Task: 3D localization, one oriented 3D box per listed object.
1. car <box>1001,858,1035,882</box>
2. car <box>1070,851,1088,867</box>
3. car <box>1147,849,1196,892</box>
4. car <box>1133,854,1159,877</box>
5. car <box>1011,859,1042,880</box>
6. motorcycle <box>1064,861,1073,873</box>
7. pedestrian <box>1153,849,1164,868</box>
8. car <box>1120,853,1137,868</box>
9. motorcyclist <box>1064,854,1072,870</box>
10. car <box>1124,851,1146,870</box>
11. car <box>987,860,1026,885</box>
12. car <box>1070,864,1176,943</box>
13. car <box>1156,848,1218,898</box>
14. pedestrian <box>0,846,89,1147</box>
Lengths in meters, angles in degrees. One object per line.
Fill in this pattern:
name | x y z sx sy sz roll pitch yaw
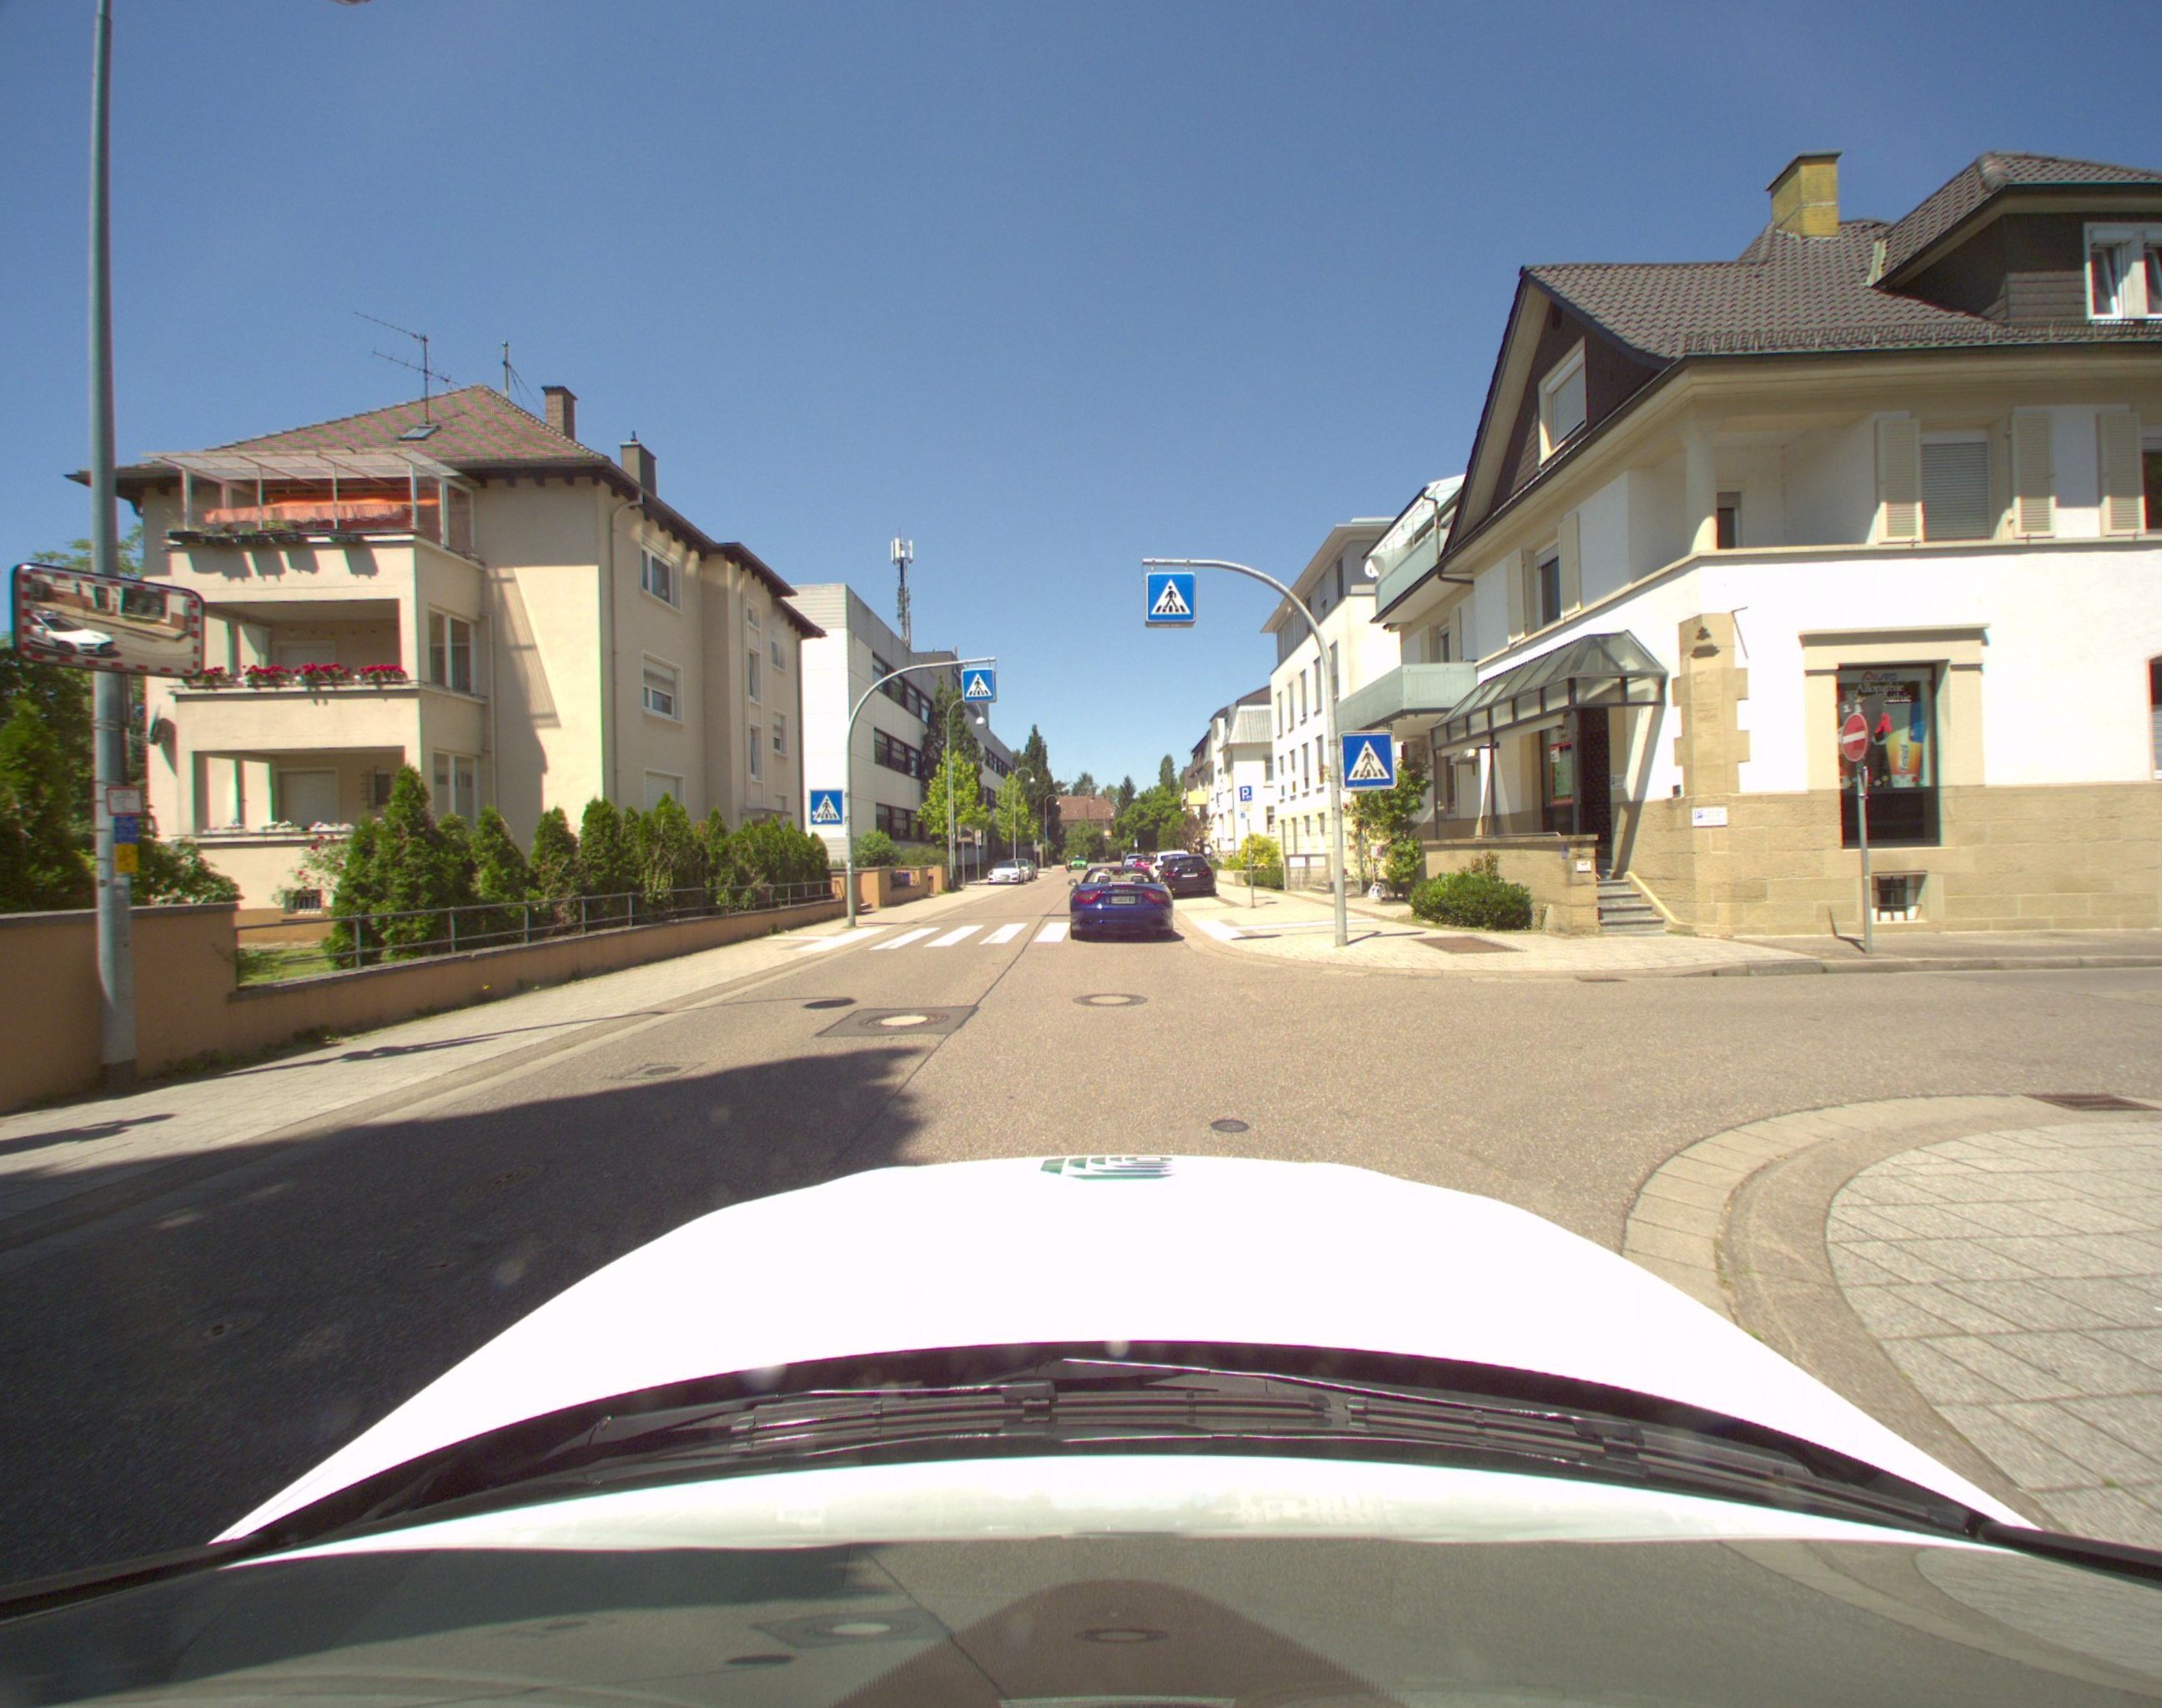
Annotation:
car | -4.210 1.066 54.893 1.815 1.512 4.291 -1 0 2
car | -0.229 0.546 93.320 1.819 1.588 4.095 -1 3 -4
car | 3.854 0.673 35.294 1.698 1.666 4.582 -3 0 2
car | 4.527 0.756 56.943 1.597 1.440 3.856 -4 0 3
car | -4.021 1.120 60.543 1.741 1.409 3.936 -3 0 3
motorcycle | -1.183 1.198 77.144 0.696 1.107 1.791 -3 0 2
pedestrian | 6.885 0.411 72.304 0.738 1.669 0.706 -4 0 0
car | 5.104 0.725 88.334 1.626 1.446 4.399 -4 0 2
motorcyclist | -1.212 0.778 76.995 0.696 1.433 0.707 -3 -1 1
car | 4.853 0.573 73.810 1.836 1.619 4.429 -3 0 2
car | -4.505 1.085 49.593 1.815 1.411 4.579 0 0 2
car | 0.796 0.875 16.379 1.820 1.337 4.702 0 0 2
car | 3.735 0.621 29.360 1.698 1.556 4.750 -4 0 2
pedestrian | -6.341 0.804 4.625 0.534 1.685 0.708 -1 -1 1
